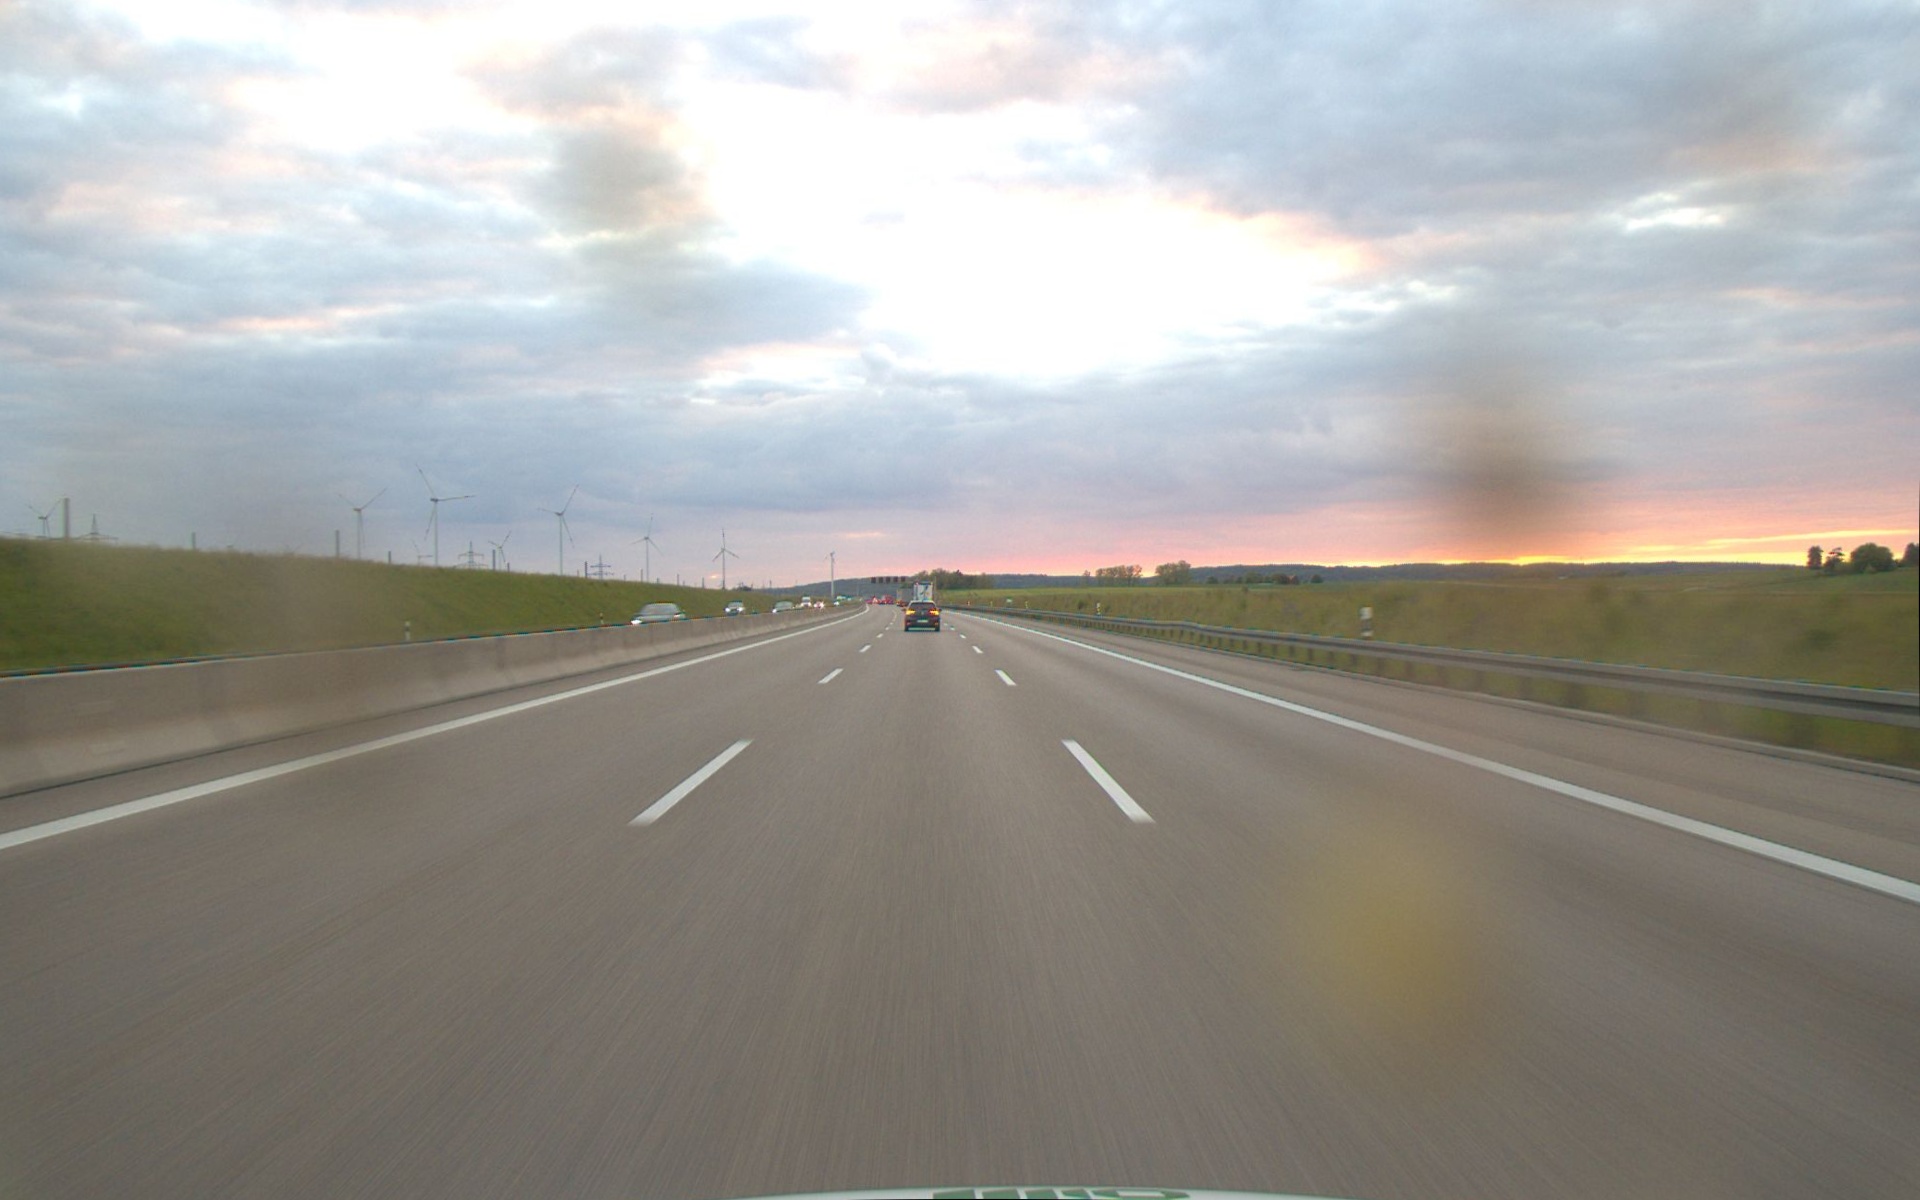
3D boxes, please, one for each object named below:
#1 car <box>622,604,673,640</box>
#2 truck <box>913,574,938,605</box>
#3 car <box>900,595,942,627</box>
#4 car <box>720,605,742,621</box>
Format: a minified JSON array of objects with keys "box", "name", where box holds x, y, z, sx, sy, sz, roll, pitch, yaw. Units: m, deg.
[{"box":[-13.132,0.903,69.679,1.545,1.409,3.771,-1,0,-2],"name":"car"},{"box":[-5.469,-1.638,260.208,3.602,4.644,10.974,-1,0,-3],"name":"truck"},{"box":[-1.858,0.517,79.688,1.947,1.454,4.000,-1,0,-1],"name":"car"},{"box":[-24.044,1.311,173.698,1.824,1.580,4.579,-1,0,-3],"name":"car"}]
